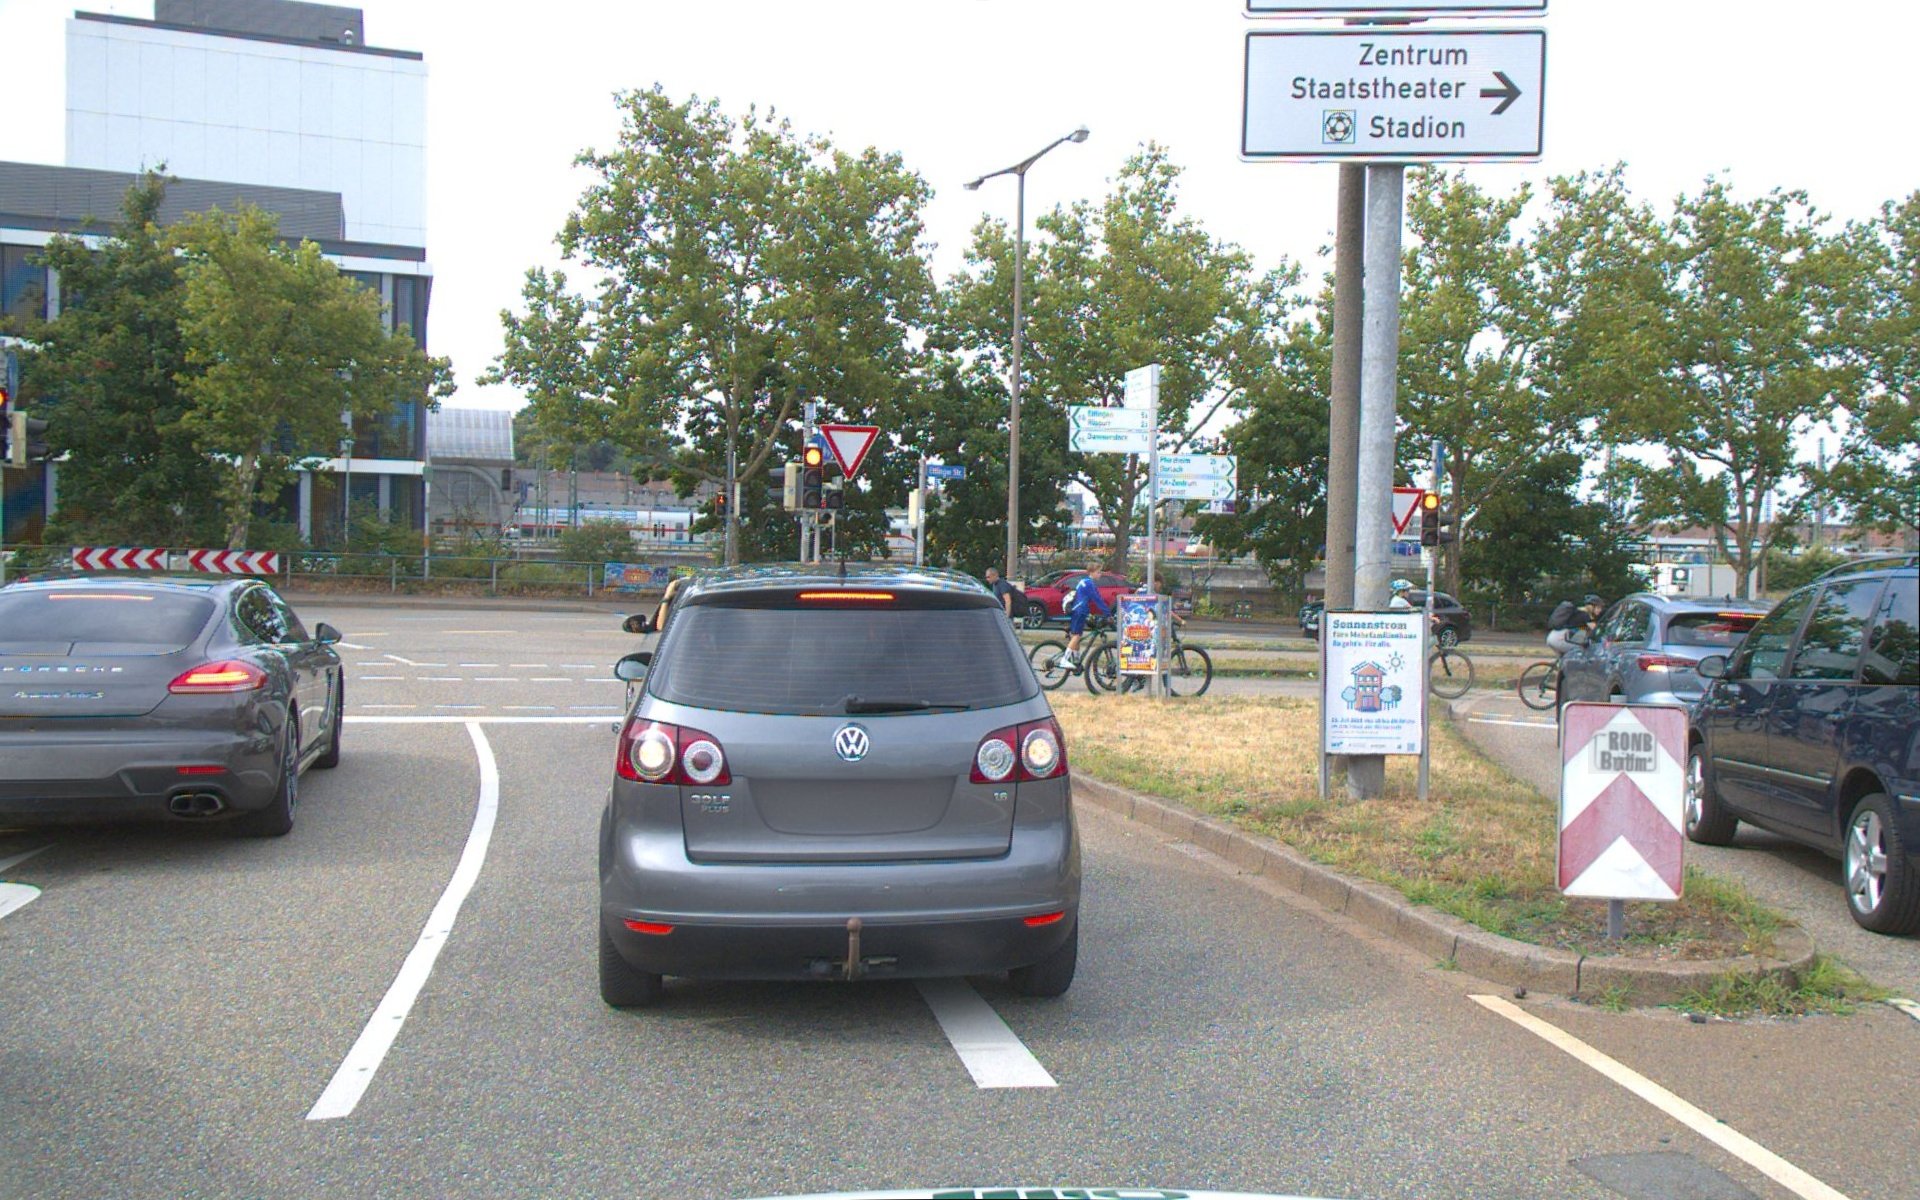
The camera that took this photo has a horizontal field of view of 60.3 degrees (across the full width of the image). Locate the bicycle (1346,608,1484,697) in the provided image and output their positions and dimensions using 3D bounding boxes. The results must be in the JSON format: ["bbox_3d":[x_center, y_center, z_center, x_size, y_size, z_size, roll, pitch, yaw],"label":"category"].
[{"bbox_3d":[6.684,0.762,24.365,1.861,1.231,0.643,1,1,6],"label":"bicycle"}]

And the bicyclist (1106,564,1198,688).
[{"bbox_3d":[2.494,0.334,21.489,1.000,1.566,0.625,1,1,-18],"label":"bicyclist"}]

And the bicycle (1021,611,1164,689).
[{"bbox_3d":[1.844,0.695,22.986,1.872,1.031,0.625,1,1,-19],"label":"bicycle"}]

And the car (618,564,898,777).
[{"bbox_3d":[-1.841,0.482,13.913,1.713,1.508,4.064,1,1,-16],"label":"car"}]

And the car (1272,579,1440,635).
[{"bbox_3d":[11.035,0.190,46.123,4.260,1.473,1.753,1,1,-18],"label":"car"}]

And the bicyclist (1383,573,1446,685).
[{"bbox_3d":[6.688,0.410,24.358,0.763,1.608,0.655,1,1,6],"label":"bicyclist"}]

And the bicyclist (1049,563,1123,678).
[{"bbox_3d":[1.739,0.274,22.945,0.825,1.556,0.625,1,1,-18],"label":"bicyclist"}]

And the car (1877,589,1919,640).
[{"bbox_3d":[29.742,0.431,49.316,4.260,1.473,1.753,1,1,-18],"label":"car"}]

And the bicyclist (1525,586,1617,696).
[{"bbox_3d":[8.451,0.557,22.921,1.090,1.461,0.648,1,1,13],"label":"bicyclist"}]

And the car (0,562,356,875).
[{"bbox_3d":[-4.853,0.520,10.115,1.789,1.438,4.756,1,1,-16],"label":"car"}]

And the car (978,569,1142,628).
[{"bbox_3d":[2.592,-0.042,42.955,3.894,1.473,1.692,1,1,-21],"label":"car"}]

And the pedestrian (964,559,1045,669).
[{"bbox_3d":[0.726,0.225,27.173,1.033,1.740,0.847,2,1,-24],"label":"pedestrian"}]

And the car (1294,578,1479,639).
[{"bbox_3d":[10.791,0.216,41.877,4.260,1.473,1.753,1,1,-18],"label":"car"}]

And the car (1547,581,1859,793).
[{"bbox_3d":[6.730,0.704,15.445,1.655,1.613,4.160,3,0,11],"label":"car"}]

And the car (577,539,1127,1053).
[{"bbox_3d":[-0.613,0.588,7.214,1.709,1.573,4.074,1,1,-9],"label":"car"}]

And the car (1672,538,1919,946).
[{"bbox_3d":[5.258,0.655,8.685,1.713,1.754,4.141,3,0,9],"label":"car"}]

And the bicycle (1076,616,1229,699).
[{"bbox_3d":[2.501,0.746,21.516,1.871,1.031,0.625,1,1,-18],"label":"bicycle"}]

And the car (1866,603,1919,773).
[{"bbox_3d":[10.198,0.913,15.471,1.713,1.671,4.141,3,0,10],"label":"car"}]

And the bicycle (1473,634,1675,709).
[{"bbox_3d":[8.462,0.976,22.913,2.528,0.905,0.705,2,1,13],"label":"bicycle"}]
